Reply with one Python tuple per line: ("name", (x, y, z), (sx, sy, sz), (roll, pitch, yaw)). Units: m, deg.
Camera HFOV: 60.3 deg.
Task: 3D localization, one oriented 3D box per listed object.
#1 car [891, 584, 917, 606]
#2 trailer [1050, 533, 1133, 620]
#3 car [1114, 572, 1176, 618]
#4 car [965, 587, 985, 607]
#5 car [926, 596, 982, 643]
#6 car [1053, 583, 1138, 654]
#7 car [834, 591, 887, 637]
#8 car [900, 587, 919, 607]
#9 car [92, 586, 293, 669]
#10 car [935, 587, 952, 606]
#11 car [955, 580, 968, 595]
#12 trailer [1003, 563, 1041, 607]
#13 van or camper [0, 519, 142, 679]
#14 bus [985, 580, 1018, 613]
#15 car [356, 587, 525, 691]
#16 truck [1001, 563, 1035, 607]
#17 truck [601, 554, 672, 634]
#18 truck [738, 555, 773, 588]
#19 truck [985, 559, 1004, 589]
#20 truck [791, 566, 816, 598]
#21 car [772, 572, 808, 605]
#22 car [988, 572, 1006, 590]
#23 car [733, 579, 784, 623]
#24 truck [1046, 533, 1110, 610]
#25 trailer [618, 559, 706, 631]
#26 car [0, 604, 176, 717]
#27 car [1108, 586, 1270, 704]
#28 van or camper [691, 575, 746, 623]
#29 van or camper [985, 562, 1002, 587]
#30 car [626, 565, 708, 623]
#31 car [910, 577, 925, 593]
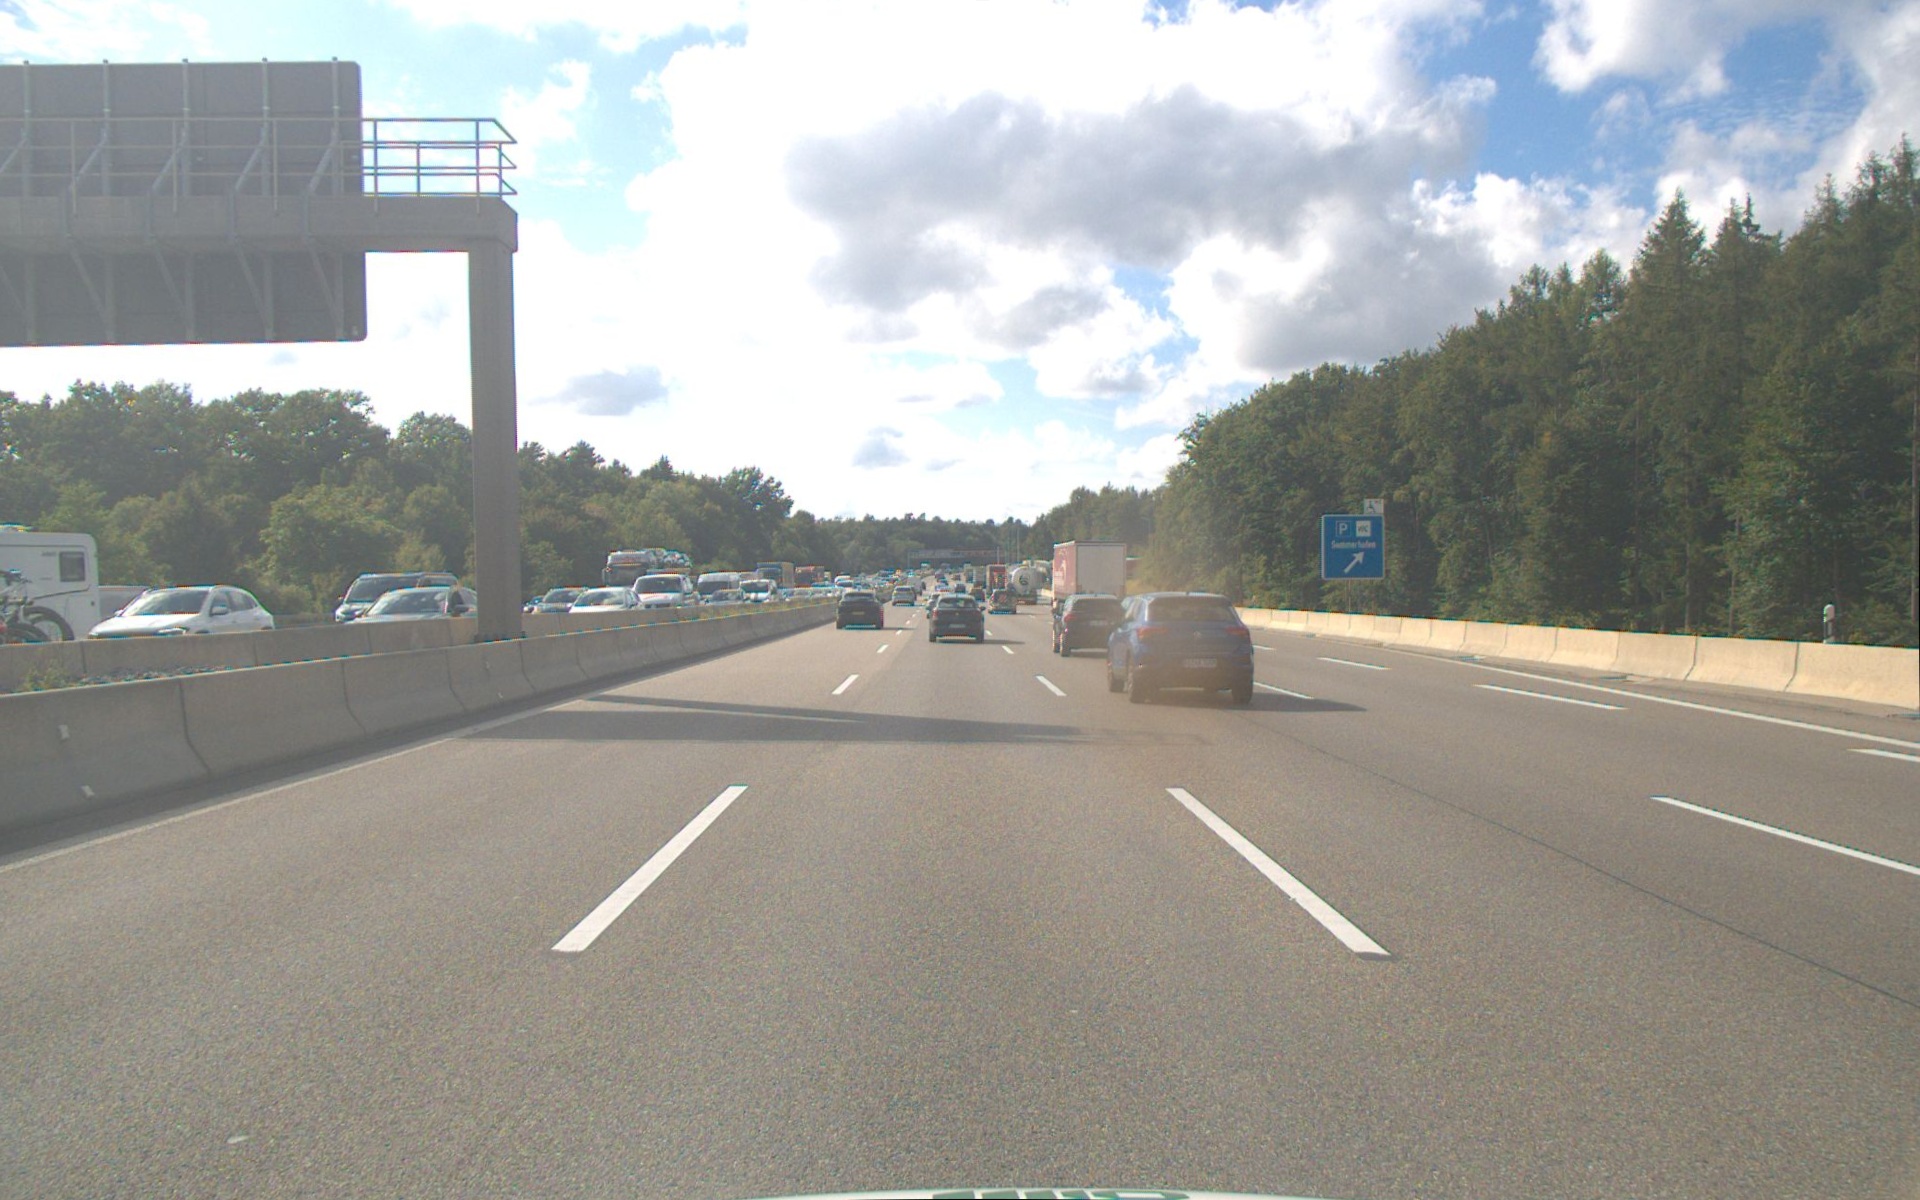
("car", (-4.801, -0.409, 143.379), (2.111, 1.807, 4.000), (1, 0, -1))
("trailer", (6.663, -1.055, 86.173), (2.976, 4.106, 13.886), (1, -1, -1))
("car", (6.465, -0.177, 58.057), (1.680, 1.537, 4.302), (-1, 0, 0))
("car", (1.549, -0.328, 173.374), (1.953, 2.049, 3.999), (1, 0, -1))
("car", (-0.193, 0.594, 52.330), (1.698, 1.389, 4.000), (1, 0, 0))
("car", (3.374, 0.441, 41.696), (1.762, 1.673, 4.000), (1, 0, 0))
("car", (-4.105, 0.548, 68.541), (1.953, 1.807, 4.000), (1, 0, 0))
("car", (-5.498, -0.335, 179.398), (1.953, 2.049, 3.999), (1, -1, -1))
("car", (-13.647, 0.447, 29.696), (1.531, 1.347, 4.536), (1, 0, -1))
("car", (-1.884, -0.340, 187.667), (1.953, 2.049, 3.999), (-1, -1, -1))
("car", (0.205, -1.863, 246.544), (1.953, 2.049, 3.999), (1, 0, -1))
("trailer", (5.845, -1.376, 157.927), (2.974, 4.086, 12.242), (0, 0, -1))
("van or camper", (-17.269, -0.012, 28.887), (2.277, 2.689, 7.396), (1, -1, 0))
("bus", (2.671, -0.195, 107.171), (1.953, 2.049, 3.999), (1, -1, -1))
("car", (-9.906, 0.689, 31.942), (1.731, 1.830, 4.937), (1, 0, -1))
("truck", (5.722, -1.435, 163.444), (2.983, 4.233, 7.125), (0, 0, -1))
("truck", (-18.072, -0.340, 92.686), (2.795, 4.308, 5.712), (1, 0, -1))
("truck", (-18.571, -2.596, 150.690), (2.281, 2.850, 7.947), (2, 1, -1))
("truck", (4.501, -3.434, 217.963), (2.309, 3.635, 11.266), (1, -1, 0))
("truck", (-20.092, -2.325, 212.073), (2.720, 4.007, 6.851), (1, 1, -2))
("car", (-11.076, -0.742, 108.076), (1.953, 2.049, 4.409), (0, -1, 0))
("car", (4.285, -2.196, 191.525), (1.953, 2.049, 3.999), (1, -1, -1))
("car", (-10.247, 0.065, 84.293), (1.953, 2.137, 5.277), (1, -1, 0))
("truck", (6.586, -1.554, 93.116), (3.018, 4.134, 6.068), (1, -1, -1))
("trailer", (-18.240, -0.202, 102.436), (2.773, 4.044, 16.001), (1, -1, -1))
("car", (-9.183, 0.538, 14.959), (1.633, 0.944, 5.462), (1, 0, -1))
("car", (3.339, 0.644, 24.916), (1.884, 1.568, 4.646), (1, -1, 1))
("van or camper", (-14.457, 0.007, 99.367), (2.342, 2.758, 6.630), (1, -1, 0))
("van or camper", (4.541, -3.412, 224.725), (2.303, 3.199, 5.710), (1, -1, 0))
("car", (-9.788, -0.202, 55.553), (2.044, 1.833, 4.178), (1, 0, -1))
("car", (-5.623, -1.981, 218.740), (1.953, 2.049, 3.999), (1, 0, -1))
